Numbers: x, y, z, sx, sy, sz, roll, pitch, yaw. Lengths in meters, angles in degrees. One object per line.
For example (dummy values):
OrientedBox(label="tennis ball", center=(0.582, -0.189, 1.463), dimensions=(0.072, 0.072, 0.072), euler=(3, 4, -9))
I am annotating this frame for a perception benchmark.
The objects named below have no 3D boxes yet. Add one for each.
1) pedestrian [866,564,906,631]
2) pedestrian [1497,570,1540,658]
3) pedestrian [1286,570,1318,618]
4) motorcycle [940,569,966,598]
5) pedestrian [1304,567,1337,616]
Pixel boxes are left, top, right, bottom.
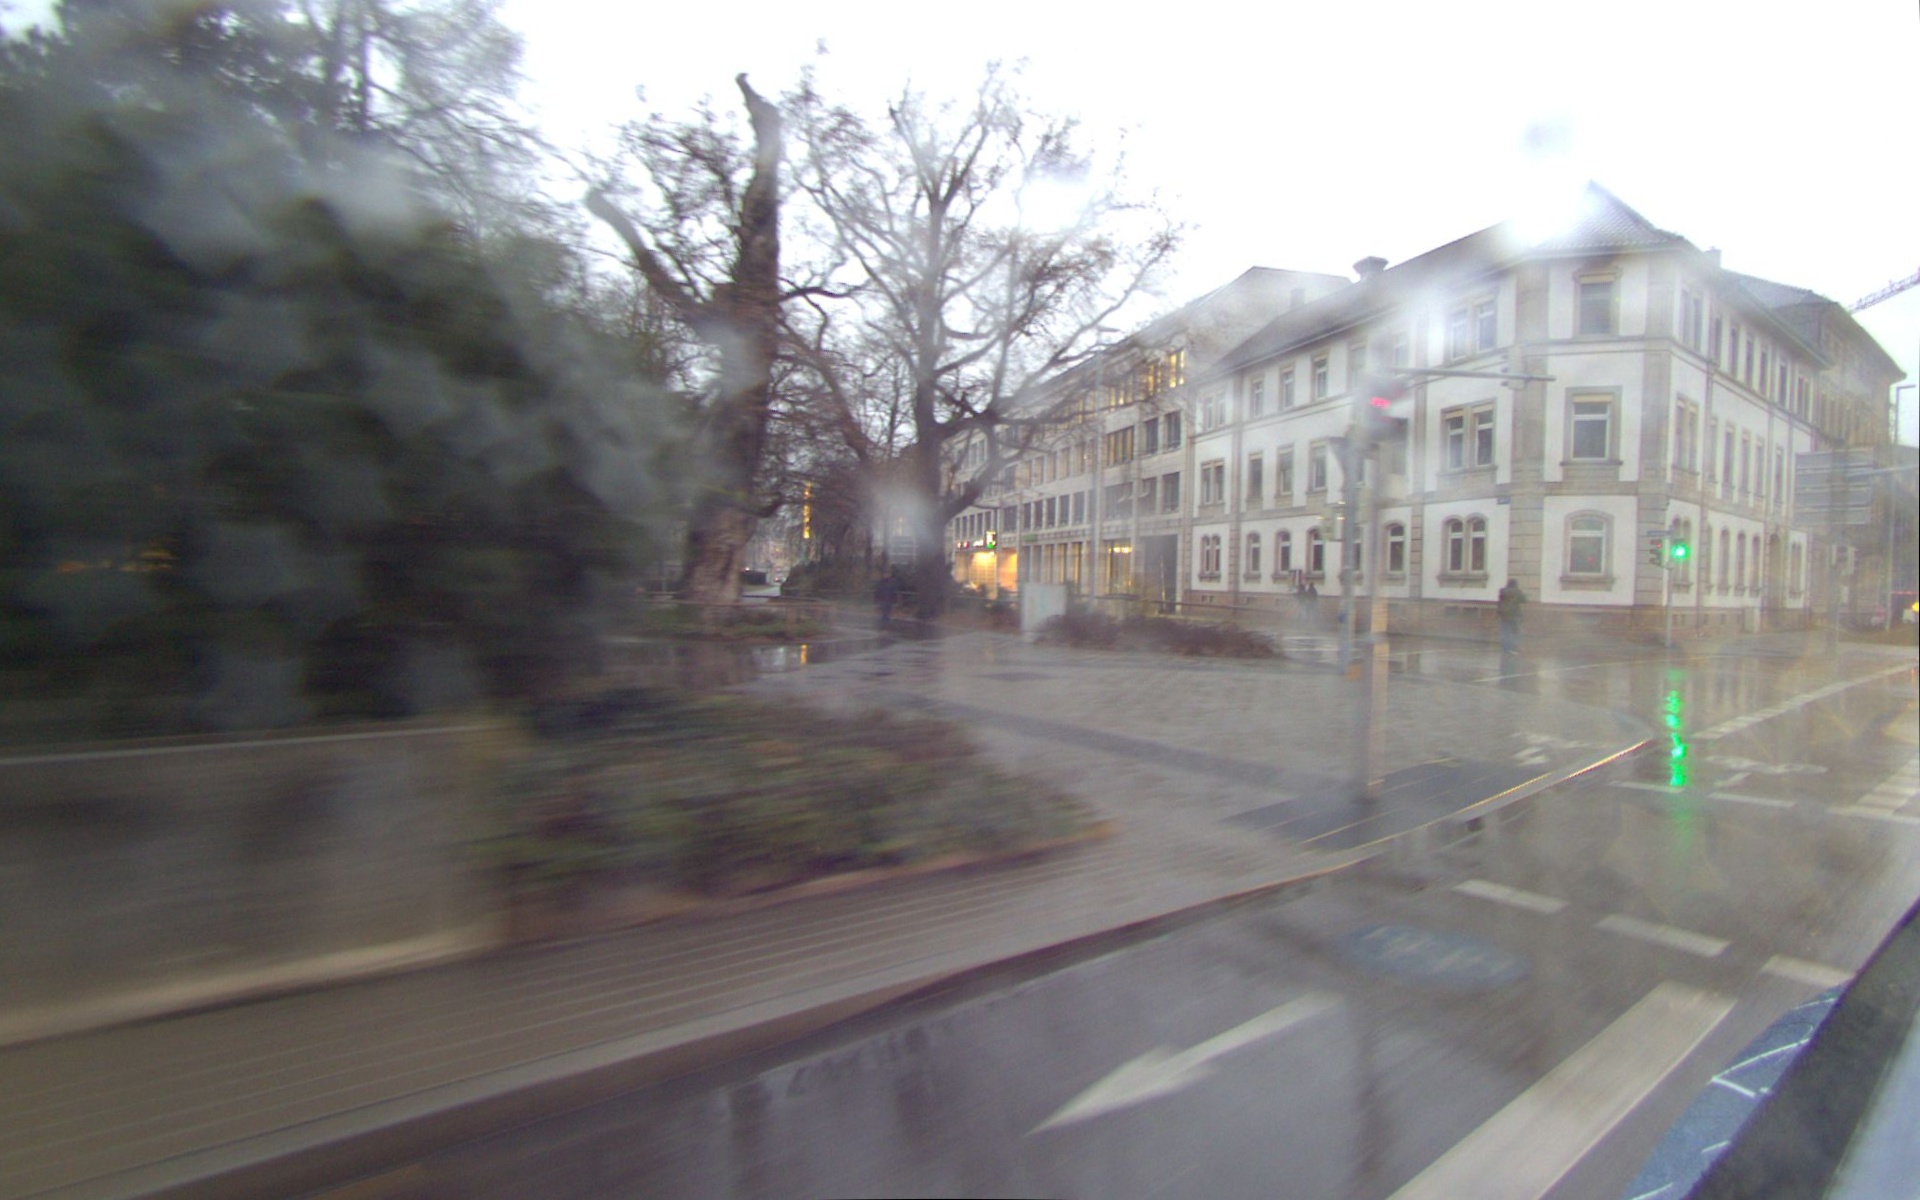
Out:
OrientedBox(label="pedestrian", center=(-1.867, -0.065, 25.514), dimensions=(0.834, 1.661, 0.727), euler=(0, 0, -20))
OrientedBox(label="pedestrian", center=(12.255, 0.293, 22.219), dimensions=(0.666, 1.903, 0.711), euler=(0, 0, 17))
OrientedBox(label="pedestrian", center=(14.281, -0.257, 42.249), dimensions=(0.849, 2.006, 0.980), euler=(0, 0, -18))
OrientedBox(label="motorcycle", center=(-0.410, -0.911, 56.153), dimensions=(0.929, 1.579, 3.531), euler=(0, 0, -9))
OrientedBox(label="pedestrian", center=(15.135, -0.353, 42.515), dimensions=(0.849, 2.006, 0.980), euler=(0, 0, -18))
